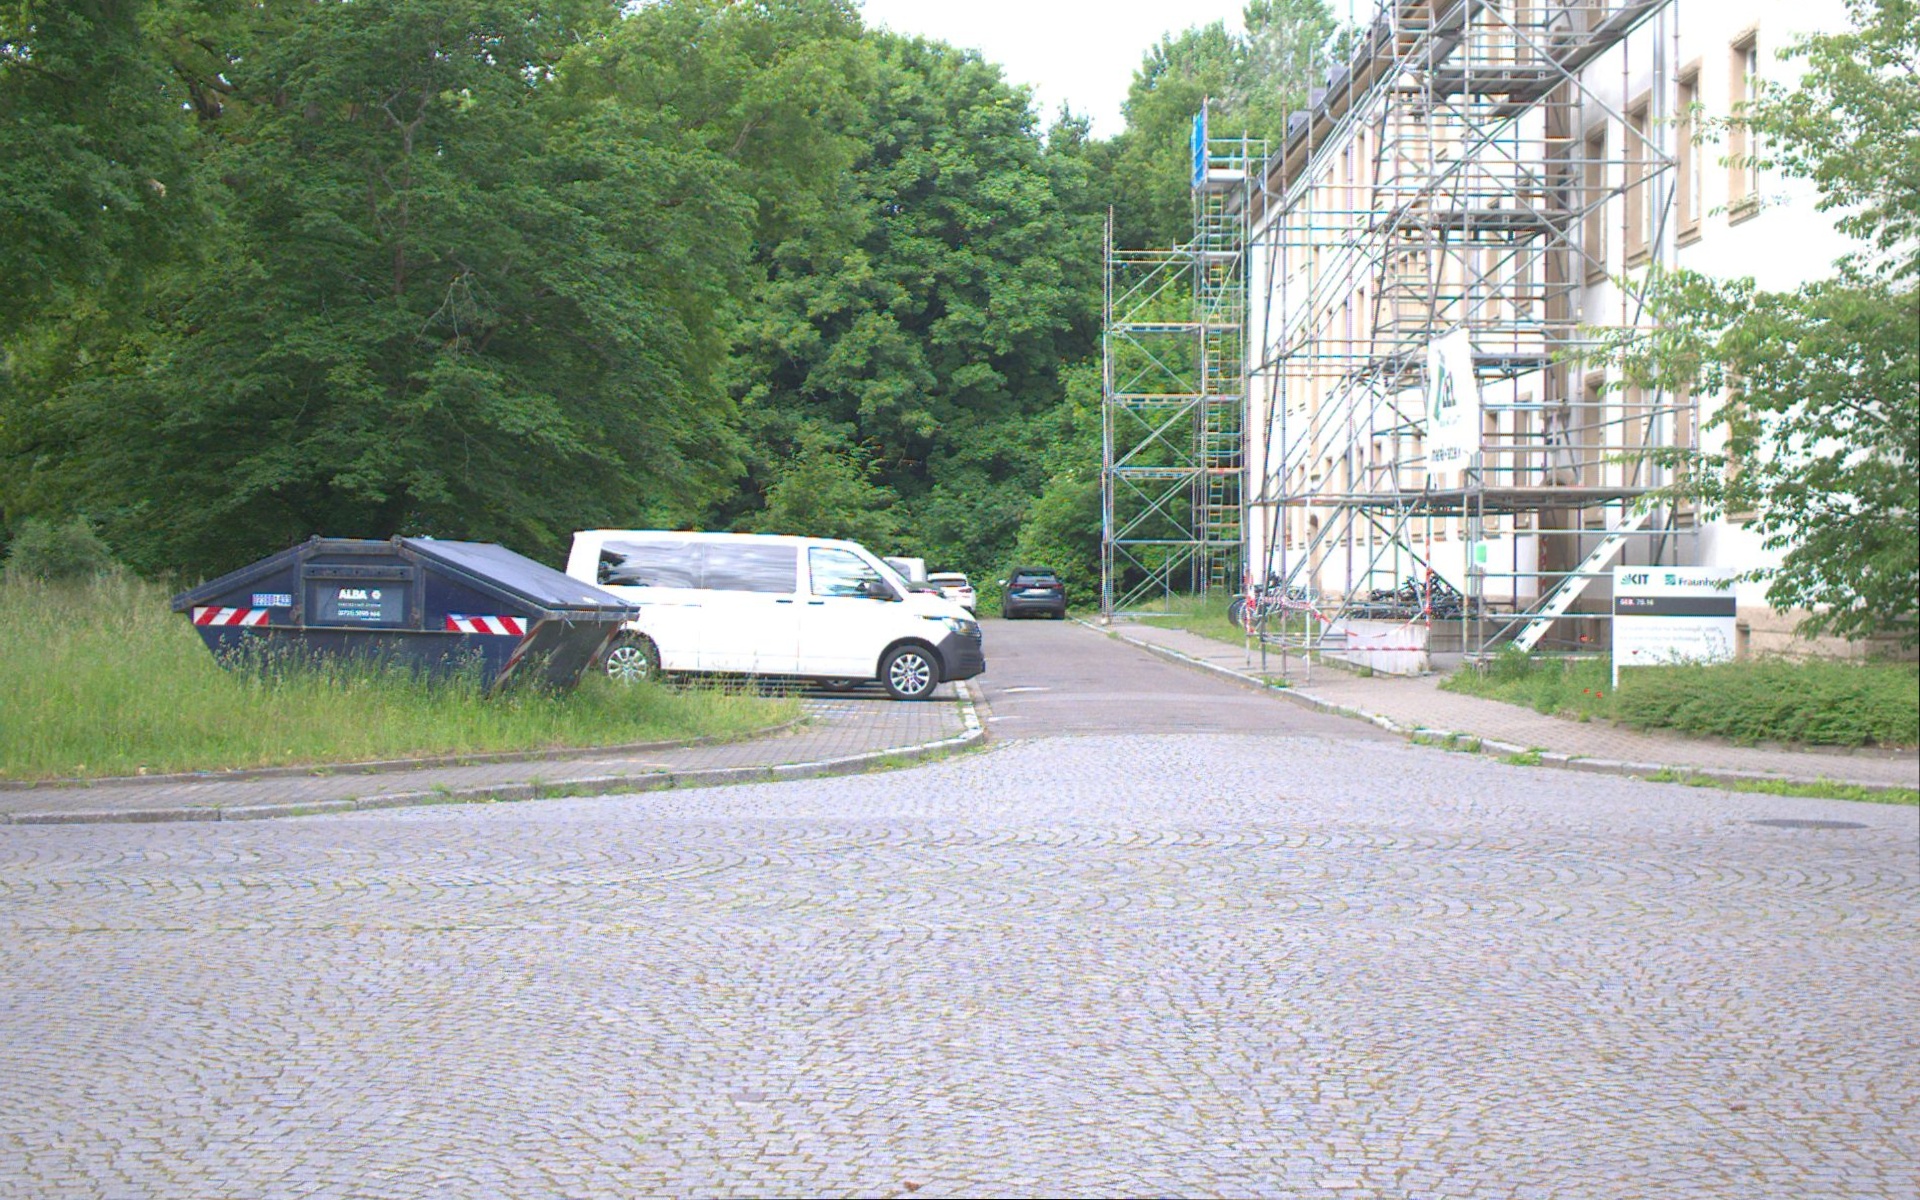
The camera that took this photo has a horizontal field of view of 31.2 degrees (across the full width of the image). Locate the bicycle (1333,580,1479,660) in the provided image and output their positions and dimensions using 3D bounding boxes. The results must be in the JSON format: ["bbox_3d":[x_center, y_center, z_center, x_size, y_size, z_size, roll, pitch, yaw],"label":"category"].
[{"bbox_3d":[7.131,0.314,55.040,2.240,1.250,0.777,0,0,2],"label":"bicycle"}]

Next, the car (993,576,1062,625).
[{"bbox_3d":[2.095,0.009,108.362,1.951,1.516,4.000,0,0,-2],"label":"car"}]

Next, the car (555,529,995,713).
[{"bbox_3d":[-2.248,0.243,42.056,5.234,2.160,2.000,0,0,-3],"label":"car"}]

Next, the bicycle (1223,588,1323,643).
[{"bbox_3d":[7.175,0.358,78.939,2.240,1.250,0.627,0,0,2],"label":"bicycle"}]

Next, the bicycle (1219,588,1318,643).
[{"bbox_3d":[7.172,0.360,80.008,2.240,1.250,0.698,0,0,2],"label":"bicycle"}]

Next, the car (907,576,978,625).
[{"bbox_3d":[-0.580,0.006,108.059,2.118,1.516,4.000,0,0,-2],"label":"car"}]

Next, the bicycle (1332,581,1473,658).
[{"bbox_3d":[7.322,0.318,56.953,2.240,1.250,0.777,0,0,2],"label":"bicycle"}]

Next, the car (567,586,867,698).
[{"bbox_3d":[-3.139,0.531,44.648,3.788,1.390,2.000,0,0,-3],"label":"car"}]

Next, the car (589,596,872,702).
[{"bbox_3d":[-3.109,0.663,47.181,3.788,1.390,2.000,0,0,-2],"label":"car"}]

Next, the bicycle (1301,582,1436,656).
[{"bbox_3d":[7.032,0.322,59.297,2.240,1.250,0.777,0,0,2],"label":"bicycle"}]
